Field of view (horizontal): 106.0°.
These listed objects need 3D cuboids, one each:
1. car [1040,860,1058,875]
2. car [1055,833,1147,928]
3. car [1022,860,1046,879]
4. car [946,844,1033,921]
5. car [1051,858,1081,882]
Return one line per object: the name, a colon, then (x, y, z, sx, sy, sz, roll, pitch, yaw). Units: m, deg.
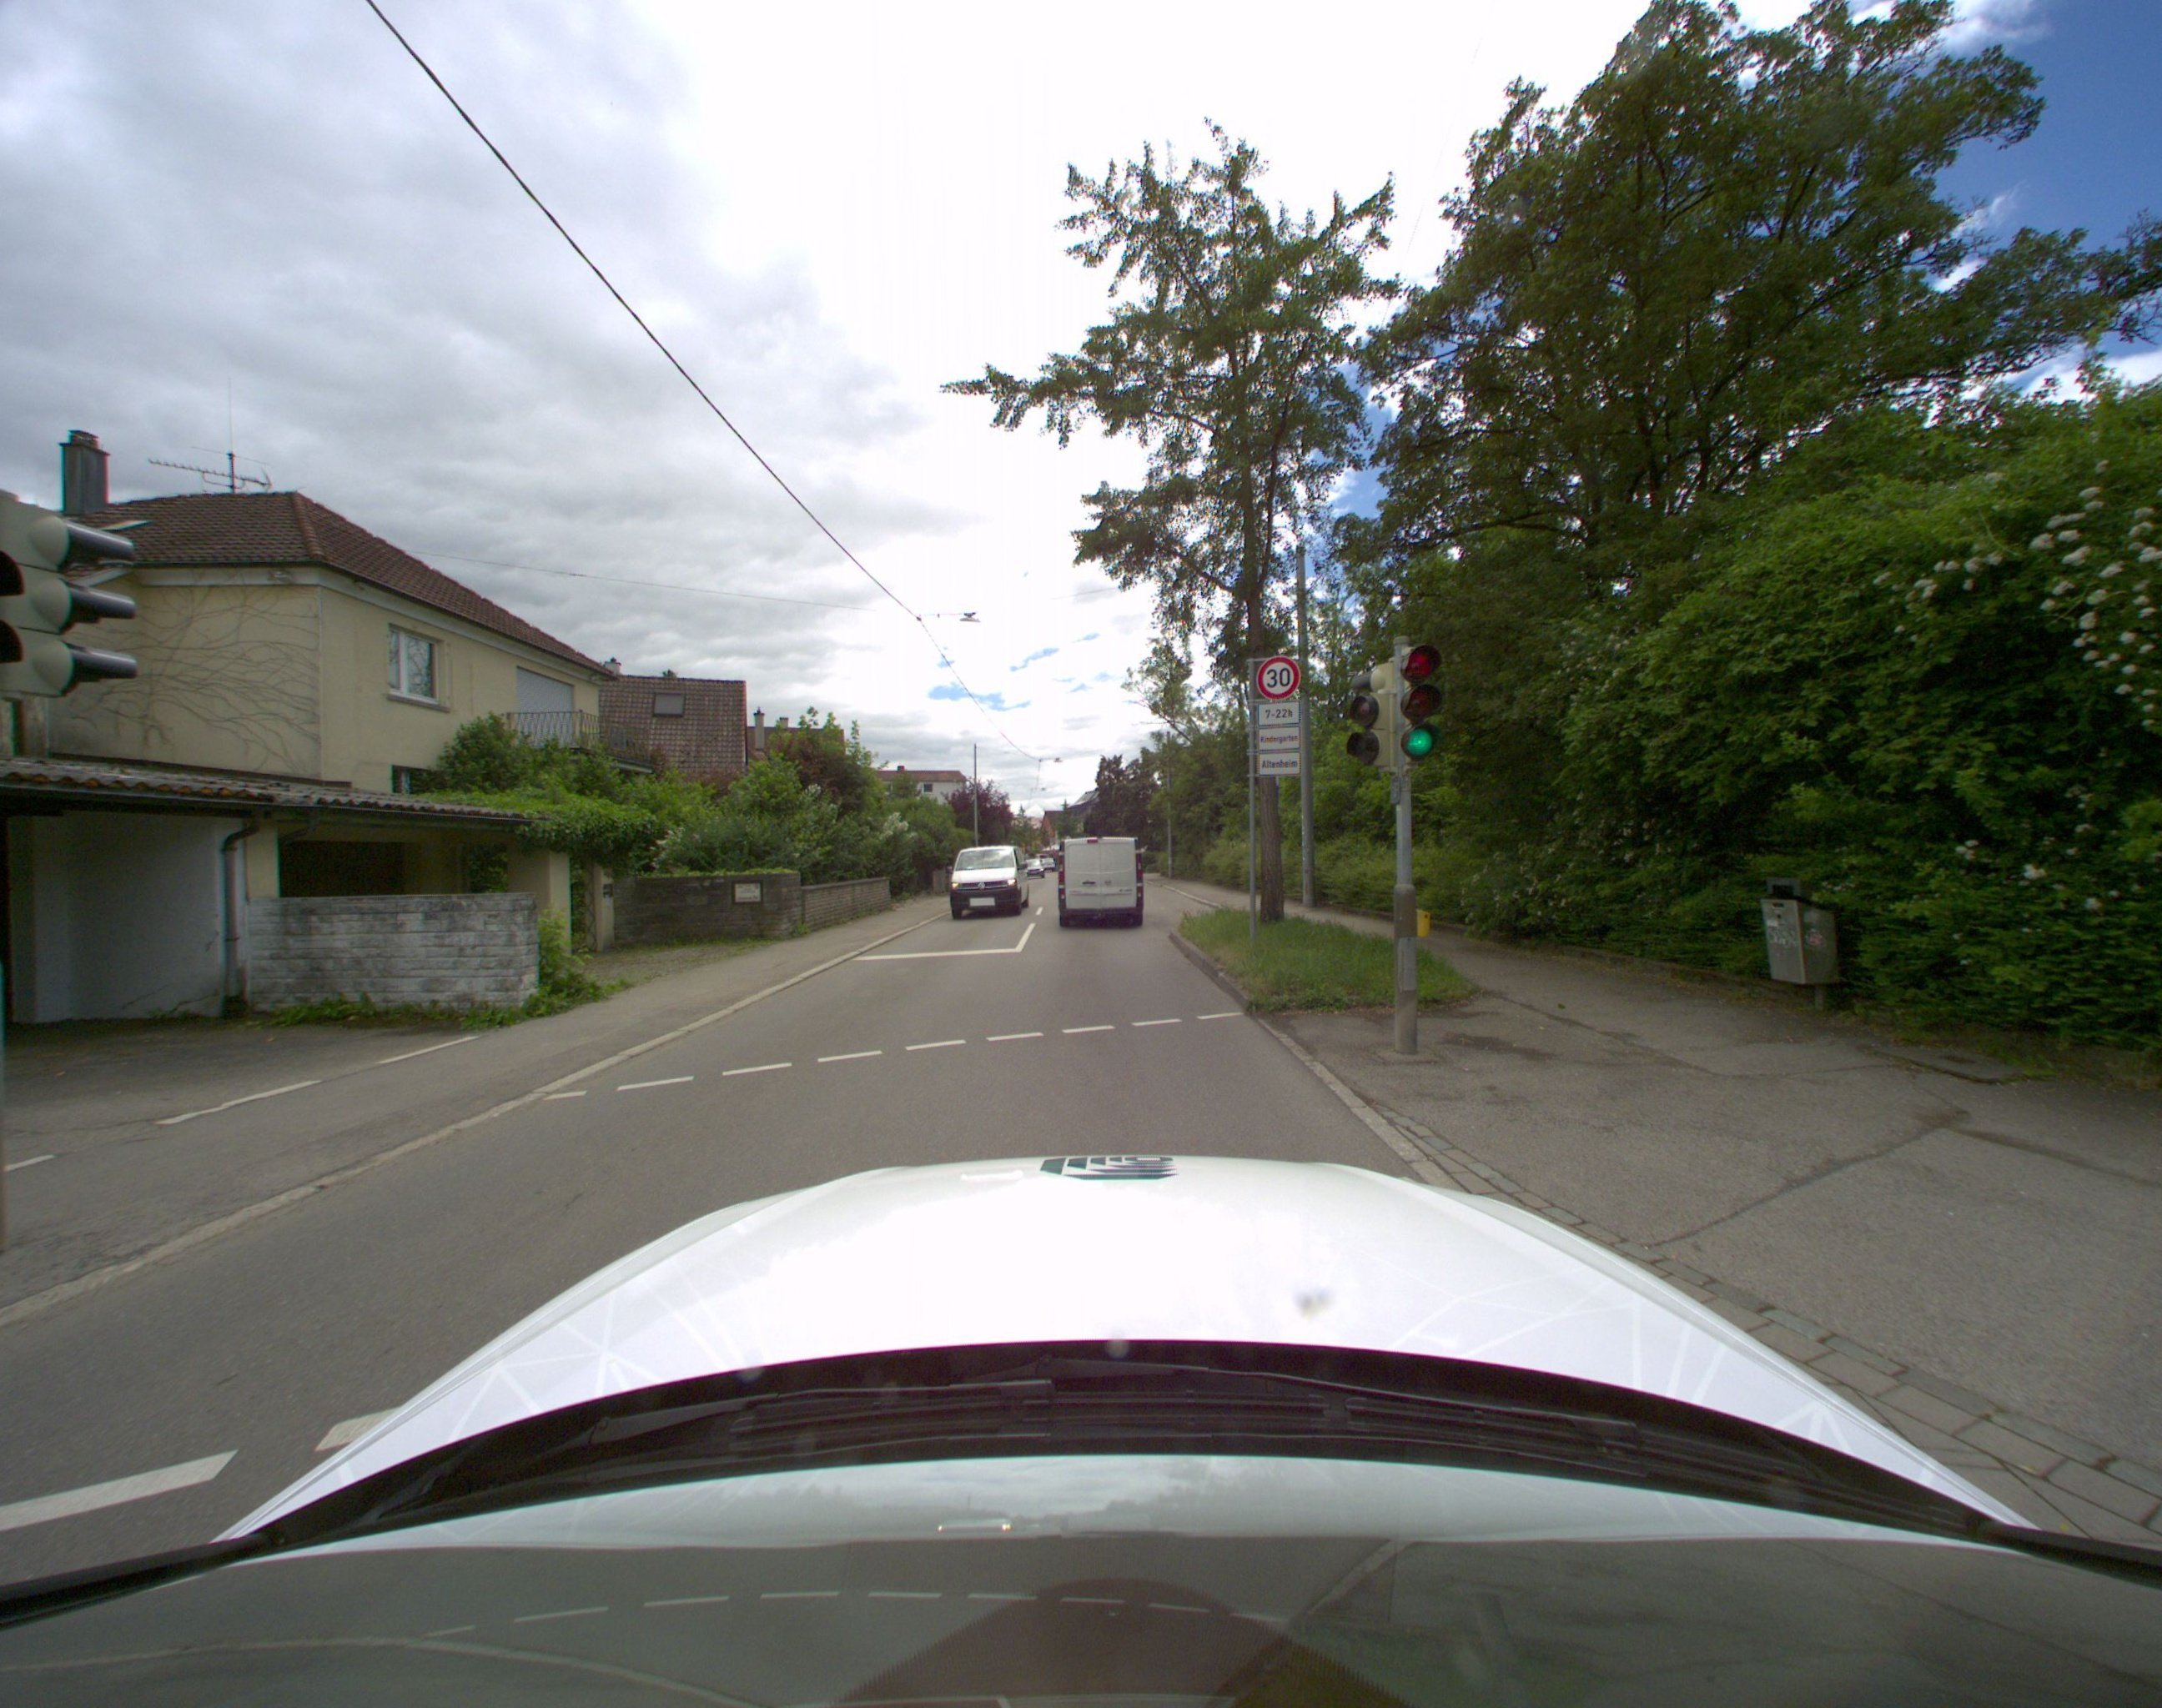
car: (-3.882, 1.652, 97.999, 1.824, 1.728, 3.989, 0, -1, -8)
car: (0.382, 0.586, 19.316, 1.924, 1.964, 4.399, -1, -1, -1)
car: (-3.999, 1.285, 69.017, 1.880, 1.512, 4.105, -3, 0, -5)
car: (-2.550, 0.747, 23.912, 1.861, 1.911, 5.114, -3, 0, 0)
car: (-1.143, 1.243, 64.336, 1.888, 1.860, 4.409, -1, -1, 5)
